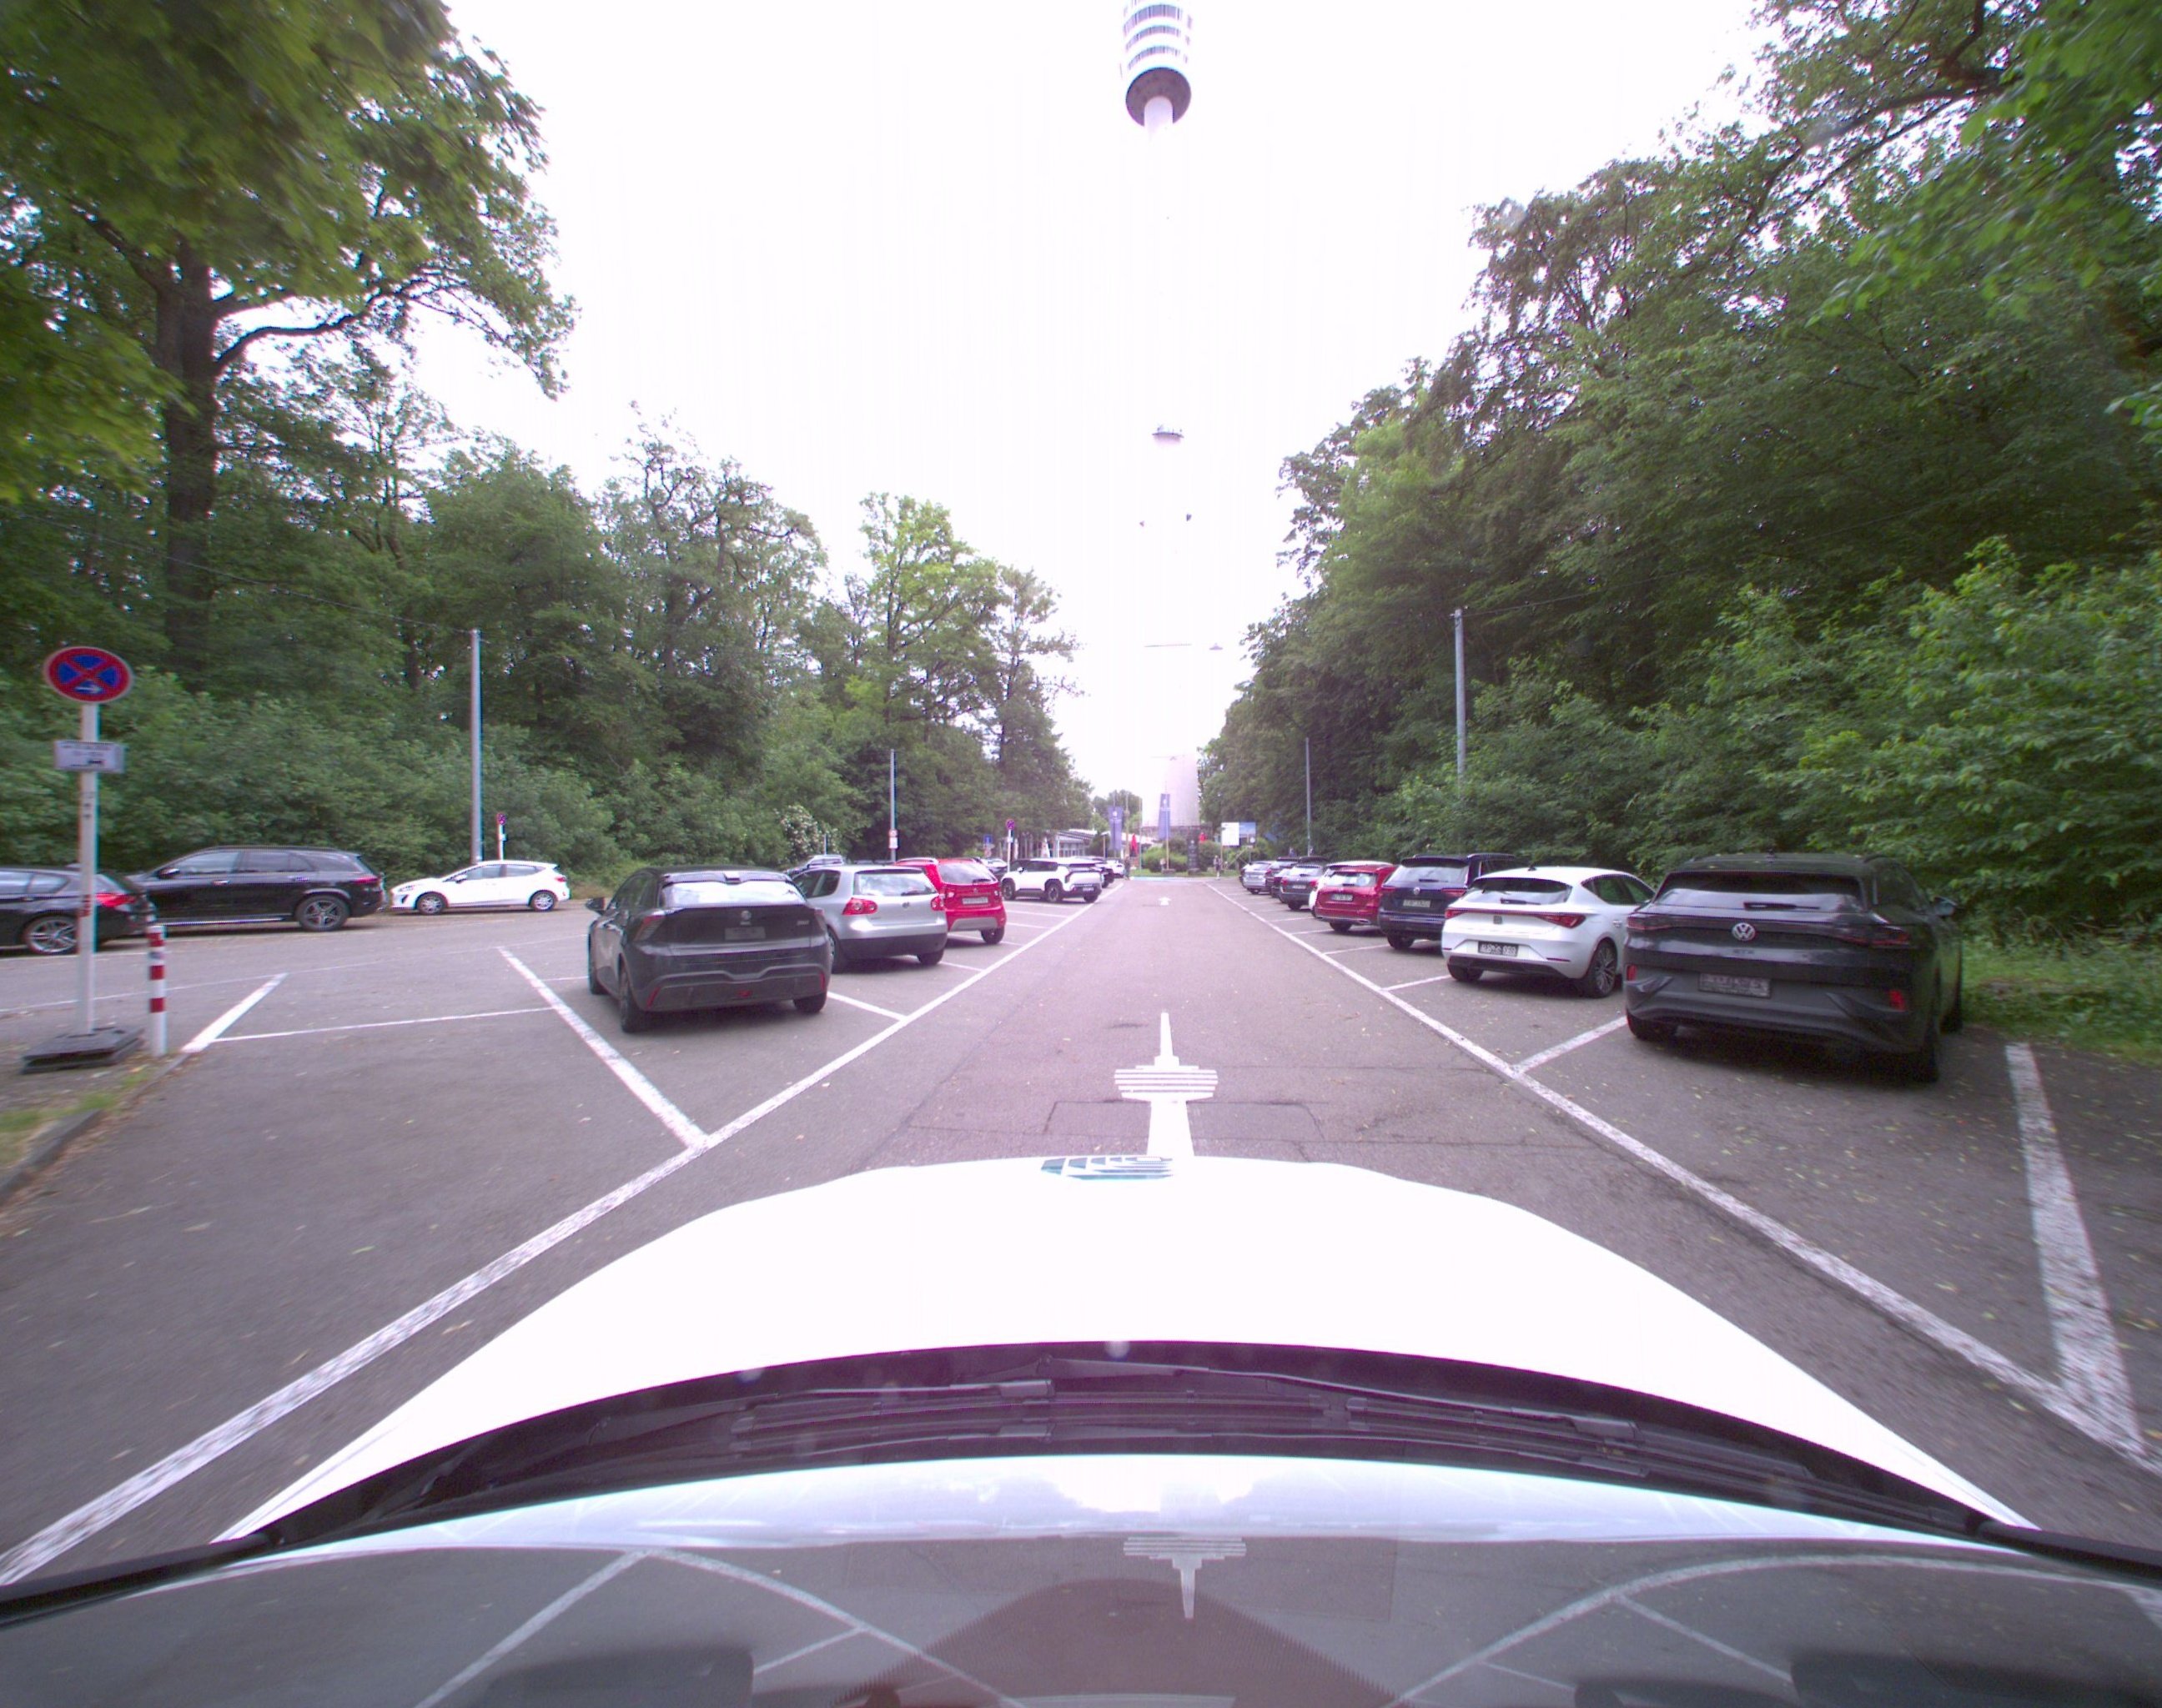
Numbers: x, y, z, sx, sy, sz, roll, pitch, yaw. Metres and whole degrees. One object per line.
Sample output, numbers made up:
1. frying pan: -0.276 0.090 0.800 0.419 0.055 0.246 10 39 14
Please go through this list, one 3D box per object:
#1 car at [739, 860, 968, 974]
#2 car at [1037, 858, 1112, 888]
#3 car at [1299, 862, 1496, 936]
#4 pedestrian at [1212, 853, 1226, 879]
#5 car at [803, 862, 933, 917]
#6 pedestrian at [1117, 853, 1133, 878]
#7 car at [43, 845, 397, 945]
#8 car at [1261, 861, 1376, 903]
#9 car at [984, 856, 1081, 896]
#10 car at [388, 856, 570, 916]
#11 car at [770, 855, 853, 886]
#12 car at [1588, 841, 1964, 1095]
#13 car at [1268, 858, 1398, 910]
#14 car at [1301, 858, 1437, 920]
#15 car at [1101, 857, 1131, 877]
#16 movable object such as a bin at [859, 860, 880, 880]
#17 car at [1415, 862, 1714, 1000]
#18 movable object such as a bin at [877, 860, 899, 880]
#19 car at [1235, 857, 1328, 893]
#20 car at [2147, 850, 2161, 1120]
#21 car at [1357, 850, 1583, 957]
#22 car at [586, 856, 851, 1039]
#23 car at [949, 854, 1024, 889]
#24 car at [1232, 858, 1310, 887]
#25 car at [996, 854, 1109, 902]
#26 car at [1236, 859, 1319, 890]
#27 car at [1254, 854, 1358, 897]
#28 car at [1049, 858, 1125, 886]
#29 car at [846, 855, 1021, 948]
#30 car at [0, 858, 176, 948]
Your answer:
1. car: -3.653 0.837 12.660 1.887 1.483 3.952 1 -1 -42
2. car: -0.382 0.928 40.788 1.781 1.443 3.802 0 0 -39
3. car: 6.925 0.891 17.683 4.314 1.414 1.907 0 -1 -35
4. pedestrian: 9.494 0.812 55.994 0.755 1.725 0.901 0 0 21
5. car: -6.222 0.949 23.501 1.880 1.442 4.264 0 0 -42
6. pedestrian: 3.031 0.805 56.089 0.894 1.725 0.761 0 0 -11
7. car: -17.159 0.721 16.707 4.731 1.767 2.088 0 0 -39
8. car: 8.519 0.938 29.080 4.285 1.377 1.942 0 0 -41
9. car: -2.053 0.892 34.000 3.950 1.554 1.884 0 0 44
10. car: -16.922 0.837 23.029 4.019 1.510 1.848 0 0 -39
11. car: -15.253 0.889 46.139 4.091 1.685 1.859 0 -1 -38
12. car: 6.302 0.727 7.212 4.225 1.580 1.934 0 -1 -41
13. car: 7.796 0.861 25.007 4.207 1.457 1.784 0 0 -39
14. car: 7.711 0.861 21.688 3.599 1.505 1.716 0 0 -37
15. car: 2.612 0.939 60.466 1.883 1.428 4.008 0 0 7
16. movable object such as a bin: -13.694 1.019 52.644 1.128 1.315 1.175 0 -1 -24
17. car: 6.324 0.827 10.508 4.137 1.438 1.849 0 -1 -36
18. movable object such as a bin: -12.568 1.018 53.063 1.174 1.307 1.303 0 -1 -24
19. car: 8.897 0.887 36.071 4.016 1.467 1.815 0 0 -35
20. car: 5.585 0.714 3.081 3.811 1.492 1.680 0 -1 -40
21. car: 6.883 0.768 14.275 4.137 1.618 1.822 0 -1 -36
22. car: -4.173 0.800 8.981 1.839 1.523 4.055 0 -1 -36
23. car: -4.837 0.848 41.344 1.909 1.663 3.952 0 -1 -41
24. car: 10.142 0.927 43.393 4.225 1.462 1.877 0 0 -39
25. car: -1.094 0.817 29.451 1.856 1.596 4.140 0 0 -41
26. car: 9.593 0.961 39.574 4.020 1.422 1.888 0 0 -40
27. car: 9.169 0.836 33.084 4.284 1.636 1.943 0 0 -39
28. car: 0.265 0.941 43.972 1.769 1.443 4.228 0 0 -41
29. car: -2.948 0.827 15.785 1.696 1.585 3.610 0 0 -42
30. car: -17.578 0.761 12.947 4.019 1.376 1.720 0 -1 -39
